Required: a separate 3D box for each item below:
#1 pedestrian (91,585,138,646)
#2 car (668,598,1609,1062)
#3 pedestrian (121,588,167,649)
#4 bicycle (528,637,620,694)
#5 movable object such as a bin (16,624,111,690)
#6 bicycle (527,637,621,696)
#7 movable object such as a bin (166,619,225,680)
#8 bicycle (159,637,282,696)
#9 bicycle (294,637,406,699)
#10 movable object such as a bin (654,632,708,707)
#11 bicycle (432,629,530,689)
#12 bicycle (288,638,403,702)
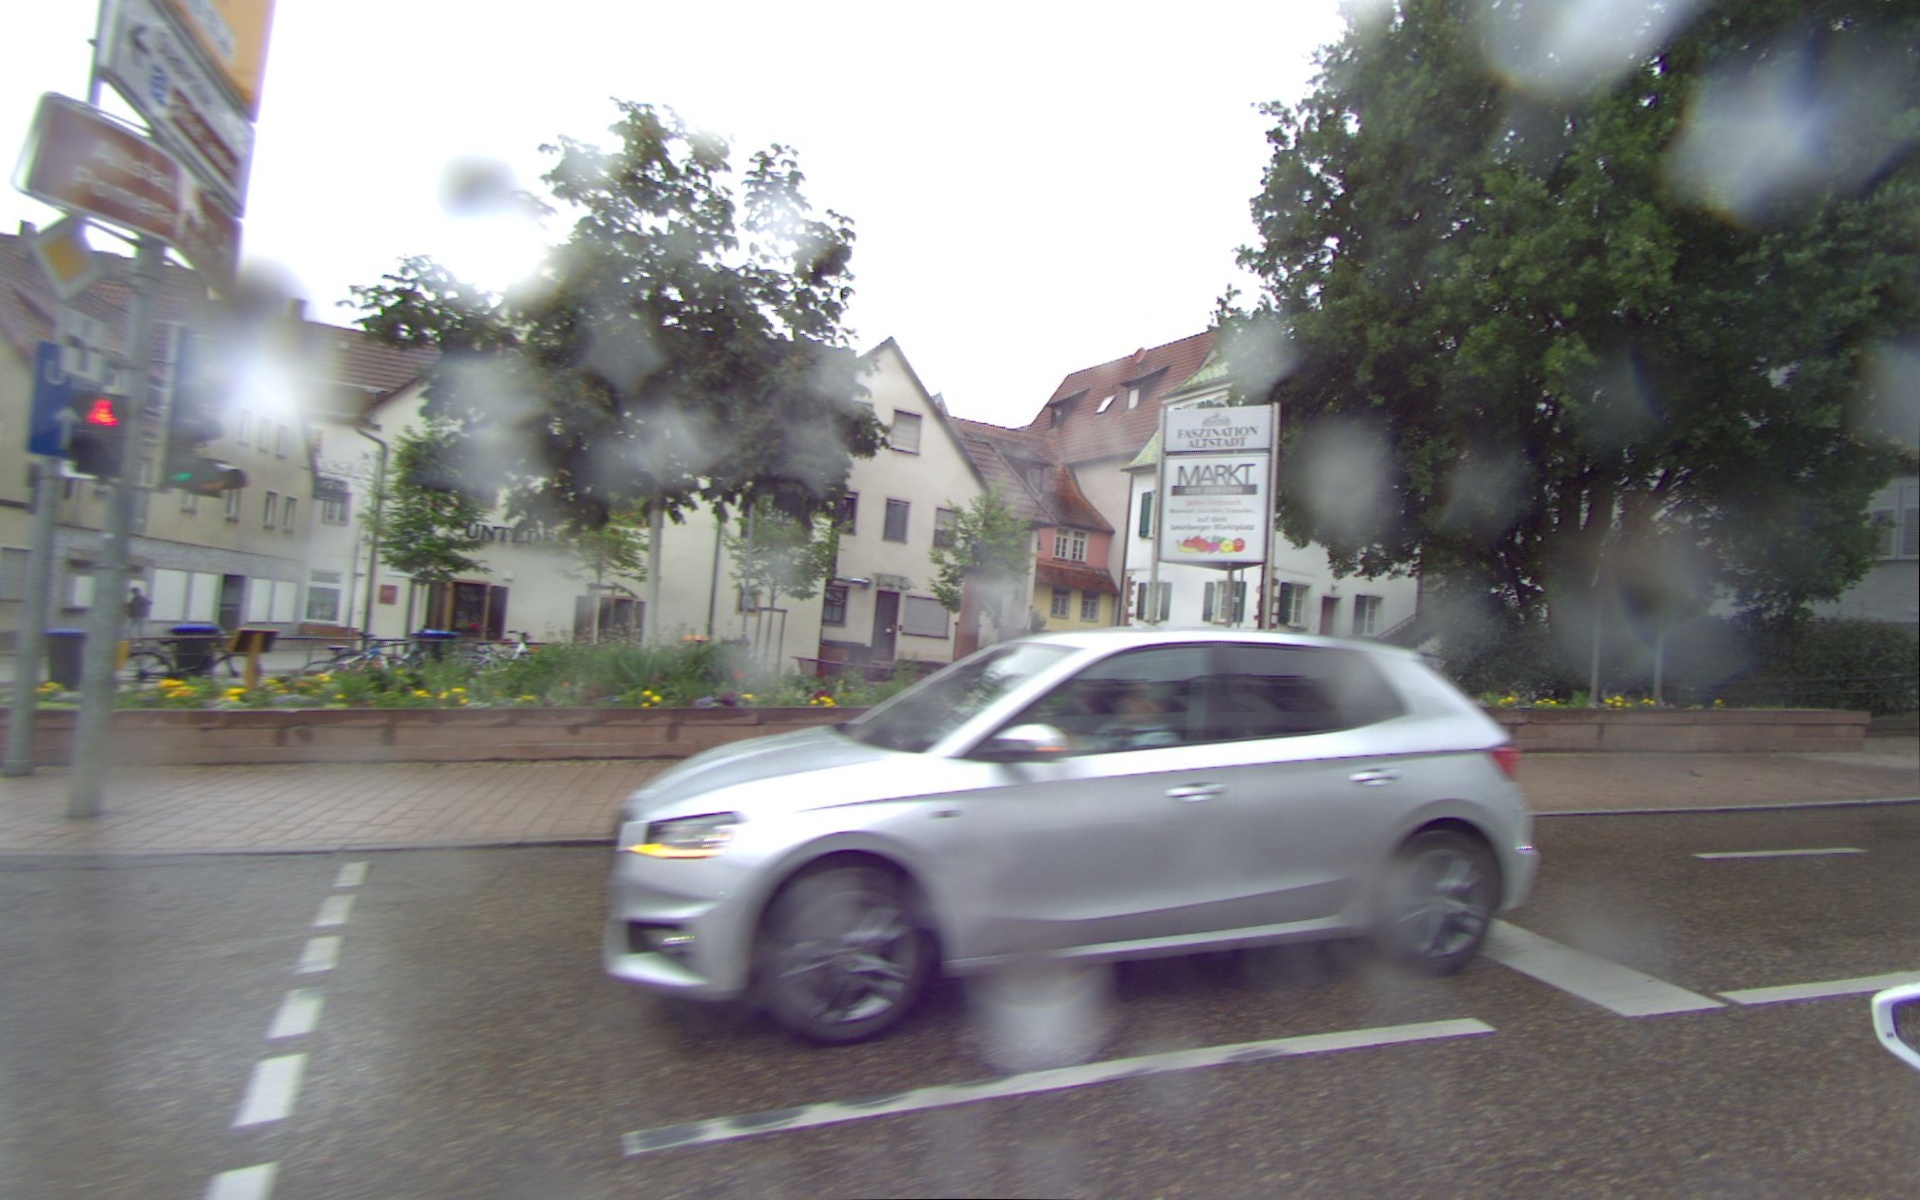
[{"bbox_3d":[-24.928,0.460,29.632,0.767,1.755,0.630,3,0,-6],"label":"pedestrian"},{"bbox_3d":[0.688,0.755,4.503,3.808,1.446,1.661,1,0,-17],"label":"car"},{"bbox_3d":[-24.106,0.546,29.669,0.767,1.755,0.630,3,0,-6],"label":"pedestrian"},{"bbox_3d":[-6.925,1.181,18.043,1.451,0.924,0.390,5,2,-27],"label":"bicycle"},{"bbox_3d":[-13.196,0.852,14.799,0.712,0.938,0.787,-2,-6,27],"label":"movable object such as a bin"},{"bbox_3d":[-6.765,1.177,17.641,1.451,0.924,0.390,5,2,-27],"label":"bicycle"},{"bbox_3d":[-12.423,0.806,16.338,0.581,0.913,0.580,5,-1,-26],"label":"movable object such as a bin"},{"bbox_3d":[-11.184,1.004,15.222,0.333,0.829,1.430,7,2,41],"label":"bicycle"},{"bbox_3d":[-9.845,1.109,16.227,1.458,0.924,0.388,4,2,-40],"label":"bicycle"},{"bbox_3d":[-5.202,1.288,18.765,0.672,1.293,0.748,6,0,-1],"label":"movable object such as a bin"},{"bbox_3d":[-8.207,1.018,17.237,1.451,0.924,0.390,5,2,-27],"label":"bicycle"},{"bbox_3d":[-9.654,1.106,15.803,1.458,0.924,0.388,4,2,-40],"label":"bicycle"}]
